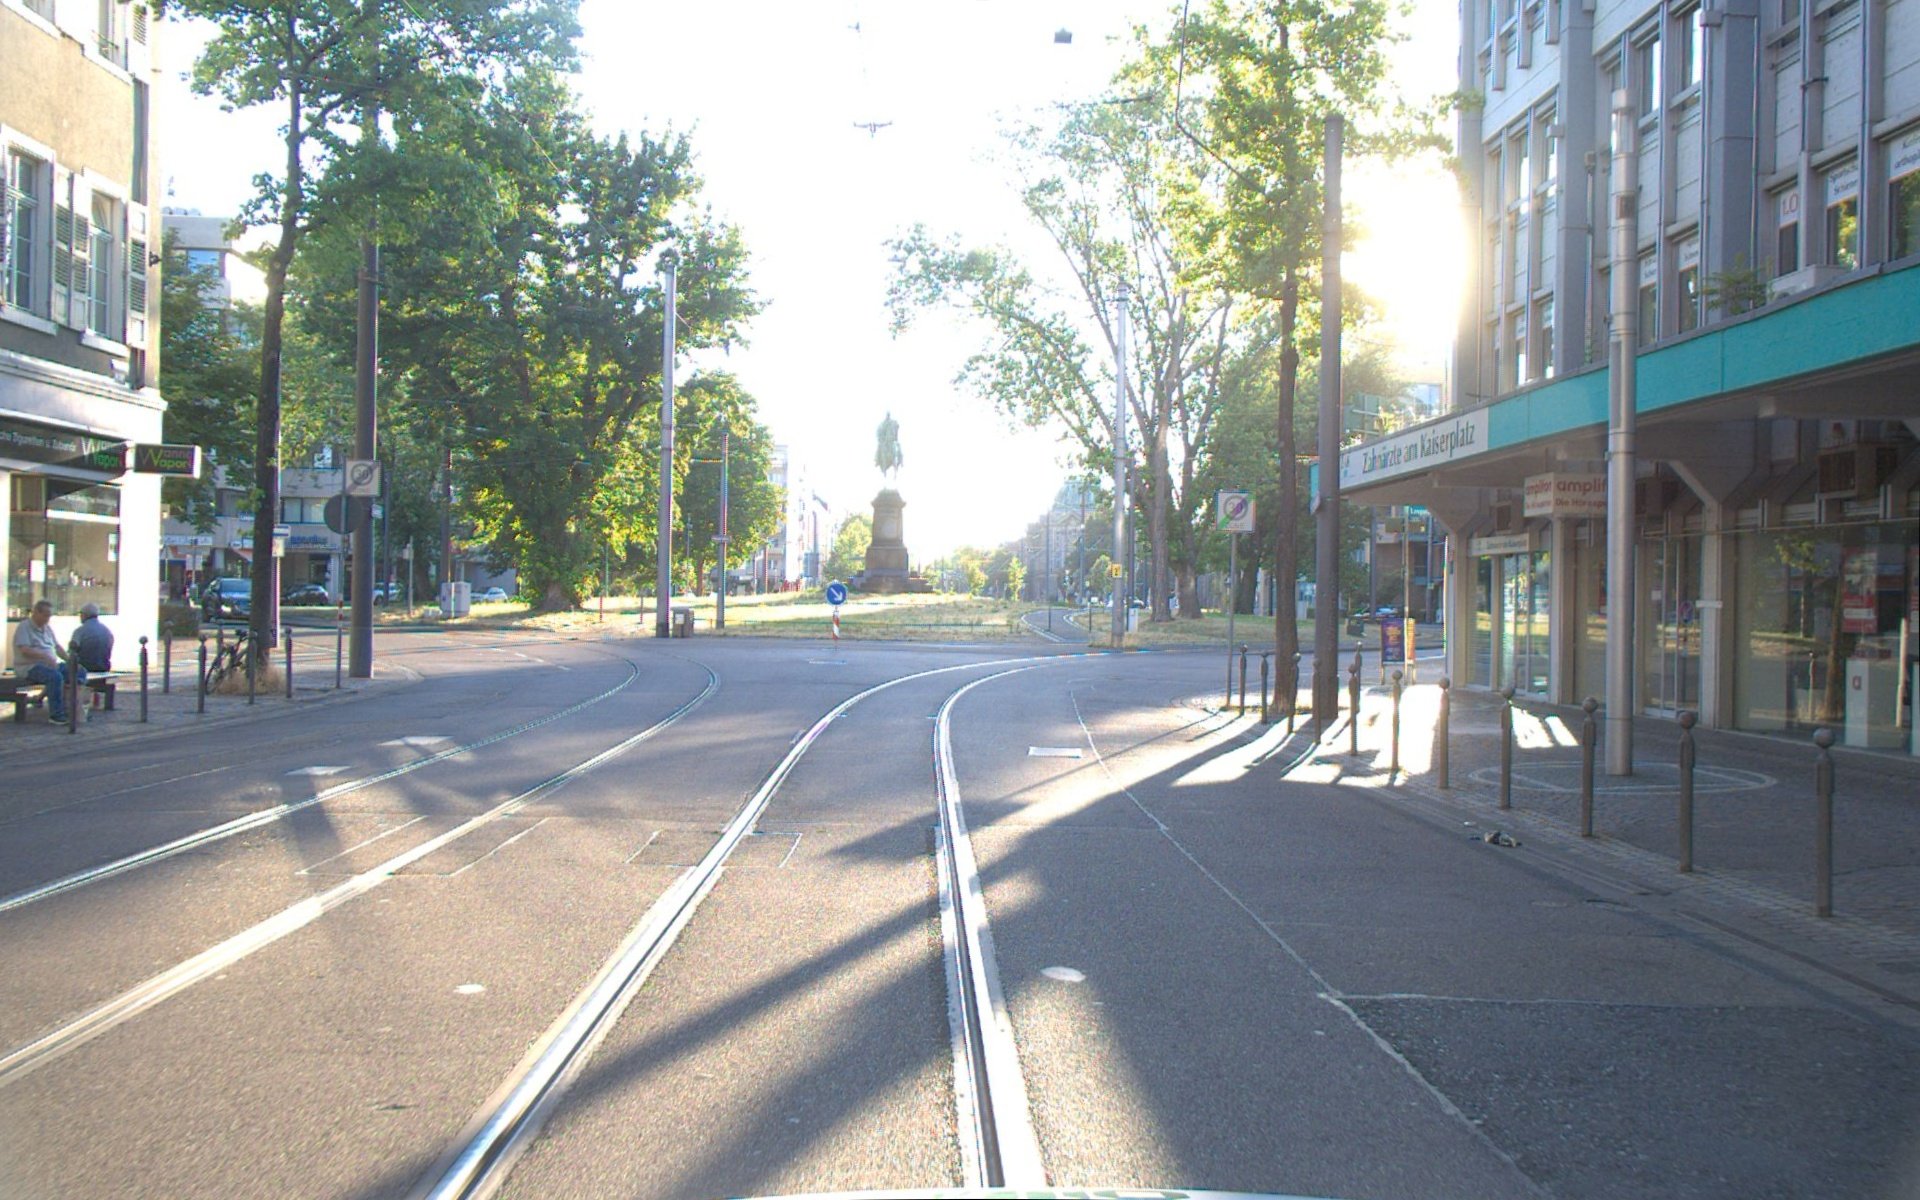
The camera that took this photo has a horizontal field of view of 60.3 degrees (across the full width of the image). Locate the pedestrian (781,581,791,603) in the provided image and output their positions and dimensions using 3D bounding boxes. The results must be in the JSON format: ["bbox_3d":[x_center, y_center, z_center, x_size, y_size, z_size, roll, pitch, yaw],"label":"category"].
[{"bbox_3d":[-12.911,-0.574,122.757,0.755,1.634,0.637,0,0,-8],"label":"pedestrian"}]

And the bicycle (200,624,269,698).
[{"bbox_3d":[-10.184,0.841,23.254,0.329,0.962,1.509,0,0,-1],"label":"bicycle"}]

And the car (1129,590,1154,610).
[{"bbox_3d":[19.064,-0.001,173.944,2.095,2.049,3.999,1,0,-2],"label":"car"}]

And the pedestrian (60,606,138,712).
[{"bbox_3d":[-10.191,0.692,19.589,0.579,1.214,0.641,1,0,-4],"label":"pedestrian"}]

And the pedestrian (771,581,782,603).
[{"bbox_3d":[-13.690,-0.585,123.221,0.755,1.634,0.637,0,0,-8],"label":"pedestrian"}]

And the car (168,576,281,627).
[{"bbox_3d":[-26.703,0.043,60.005,4.276,1.706,1.960,2,0,39],"label":"car"}]

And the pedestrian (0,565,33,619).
[{"bbox_3d":[-25.299,-0.210,44.143,0.757,1.435,0.741,1,0,40],"label":"pedestrian"}]

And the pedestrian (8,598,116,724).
[{"bbox_3d":[-9.739,0.650,17.964,0.713,1.313,0.856,1,0,-4],"label":"pedestrian"}]

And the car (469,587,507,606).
[{"bbox_3d":[-37.615,-0.306,131.756,1.838,1.445,3.926,1,0,1],"label":"car"}]

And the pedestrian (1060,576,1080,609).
[{"bbox_3d":[5.472,-0.362,82.216,0.766,1.634,0.628,0,0,-44],"label":"pedestrian"}]

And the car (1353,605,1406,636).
[{"bbox_3d":[28.467,1.404,112.407,1.958,2.004,3.989,0,0,-11],"label":"car"}]
